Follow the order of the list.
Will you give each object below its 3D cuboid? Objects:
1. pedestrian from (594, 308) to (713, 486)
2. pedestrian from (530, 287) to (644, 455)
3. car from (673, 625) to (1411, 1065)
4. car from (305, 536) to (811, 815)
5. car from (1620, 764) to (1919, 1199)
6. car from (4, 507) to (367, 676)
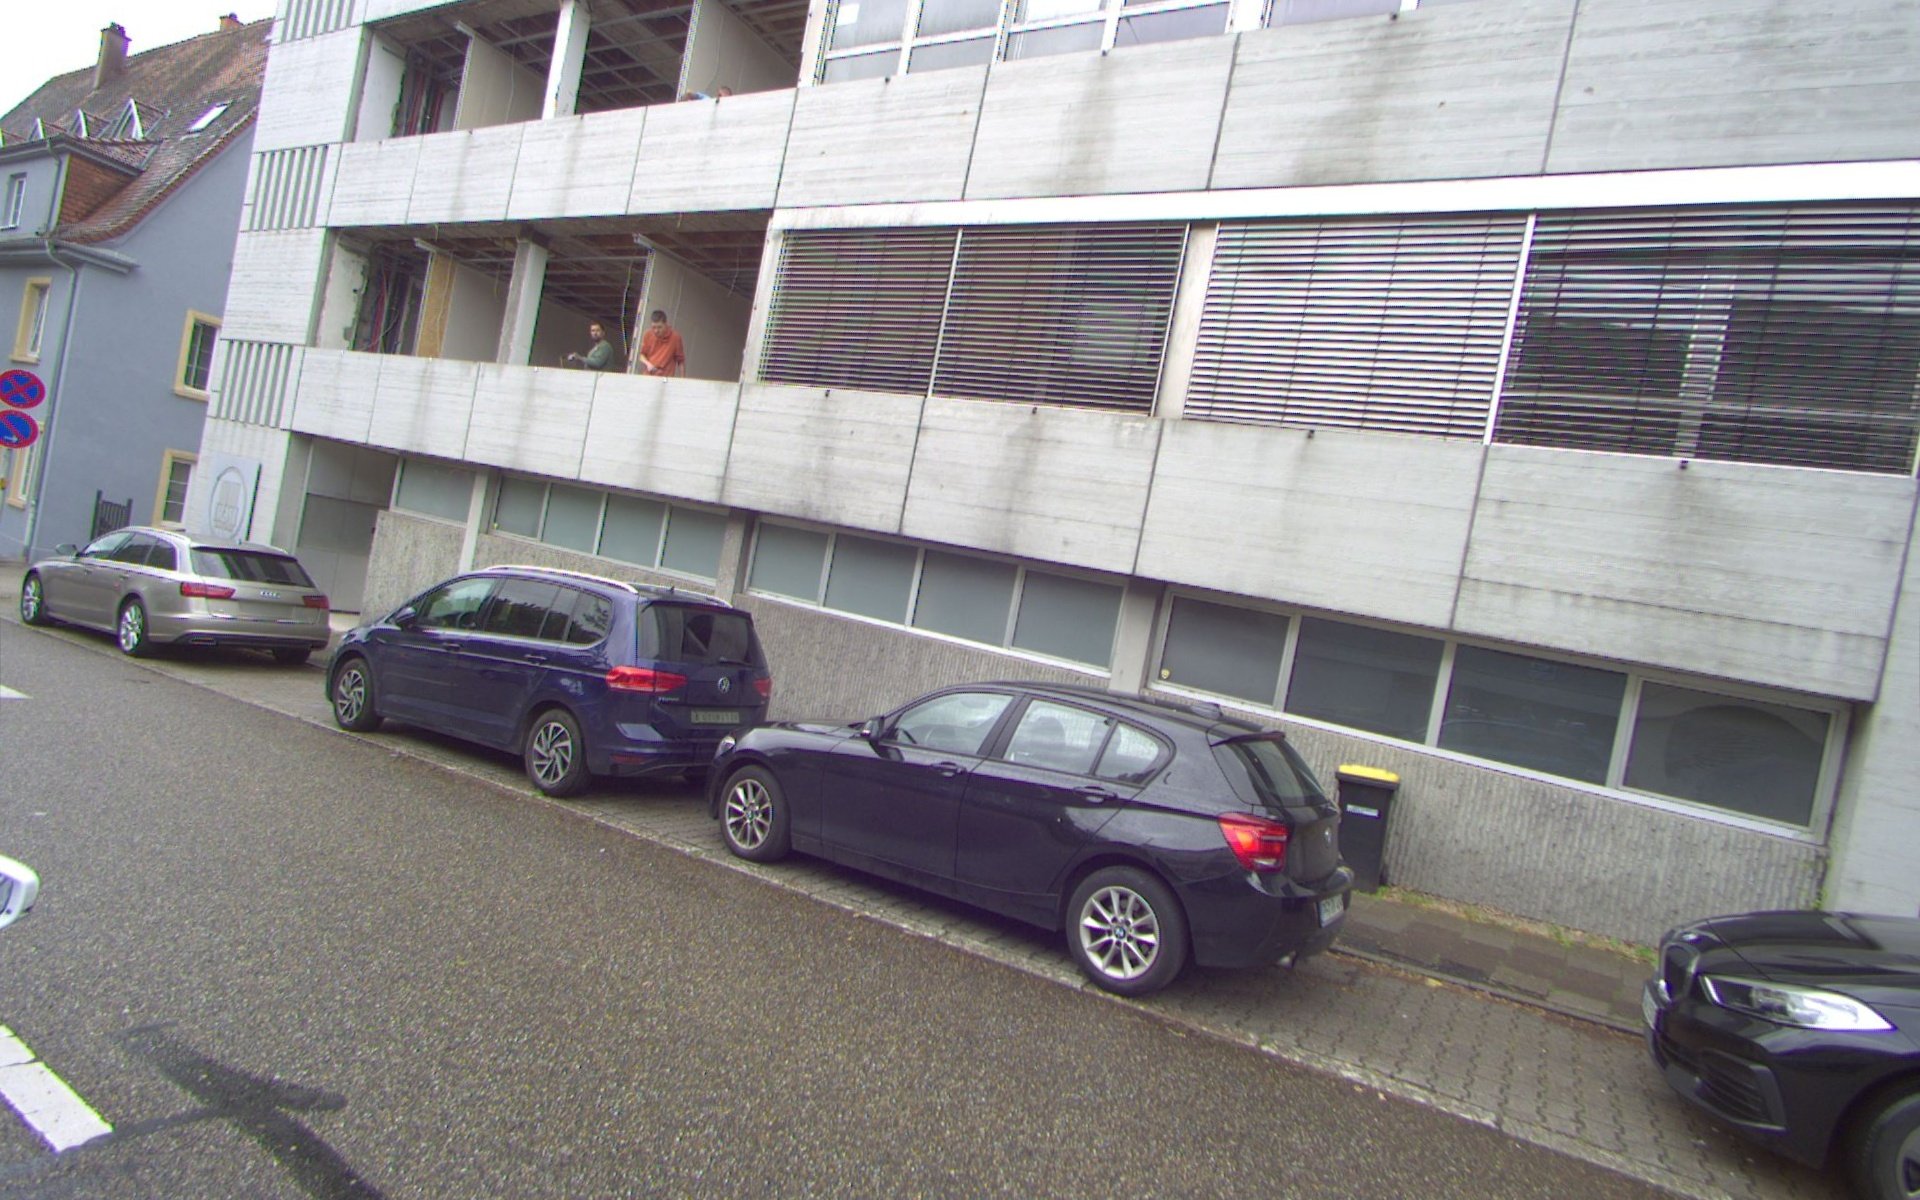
[{"bbox_3d":[-3.981,-2.603,13.097,0.847,2.036,0.909,6,-2,31],"label":"pedestrian"},{"bbox_3d":[-5.140,-3.122,13.900,0.847,2.036,0.909,6,-2,31],"label":"pedestrian"},{"bbox_3d":[0.342,1.162,6.305,4.183,1.466,1.749,7,1,34],"label":"car"},{"bbox_3d":[-3.520,0.530,8.646,4.090,1.618,1.732,7,-1,30],"label":"car"},{"bbox_3d":[5.095,1.768,3.529,4.367,1.452,1.997,7,-1,30],"label":"car"},{"bbox_3d":[-9.798,-0.130,12.669,4.449,1.465,1.966,7,-1,30],"label":"car"}]
